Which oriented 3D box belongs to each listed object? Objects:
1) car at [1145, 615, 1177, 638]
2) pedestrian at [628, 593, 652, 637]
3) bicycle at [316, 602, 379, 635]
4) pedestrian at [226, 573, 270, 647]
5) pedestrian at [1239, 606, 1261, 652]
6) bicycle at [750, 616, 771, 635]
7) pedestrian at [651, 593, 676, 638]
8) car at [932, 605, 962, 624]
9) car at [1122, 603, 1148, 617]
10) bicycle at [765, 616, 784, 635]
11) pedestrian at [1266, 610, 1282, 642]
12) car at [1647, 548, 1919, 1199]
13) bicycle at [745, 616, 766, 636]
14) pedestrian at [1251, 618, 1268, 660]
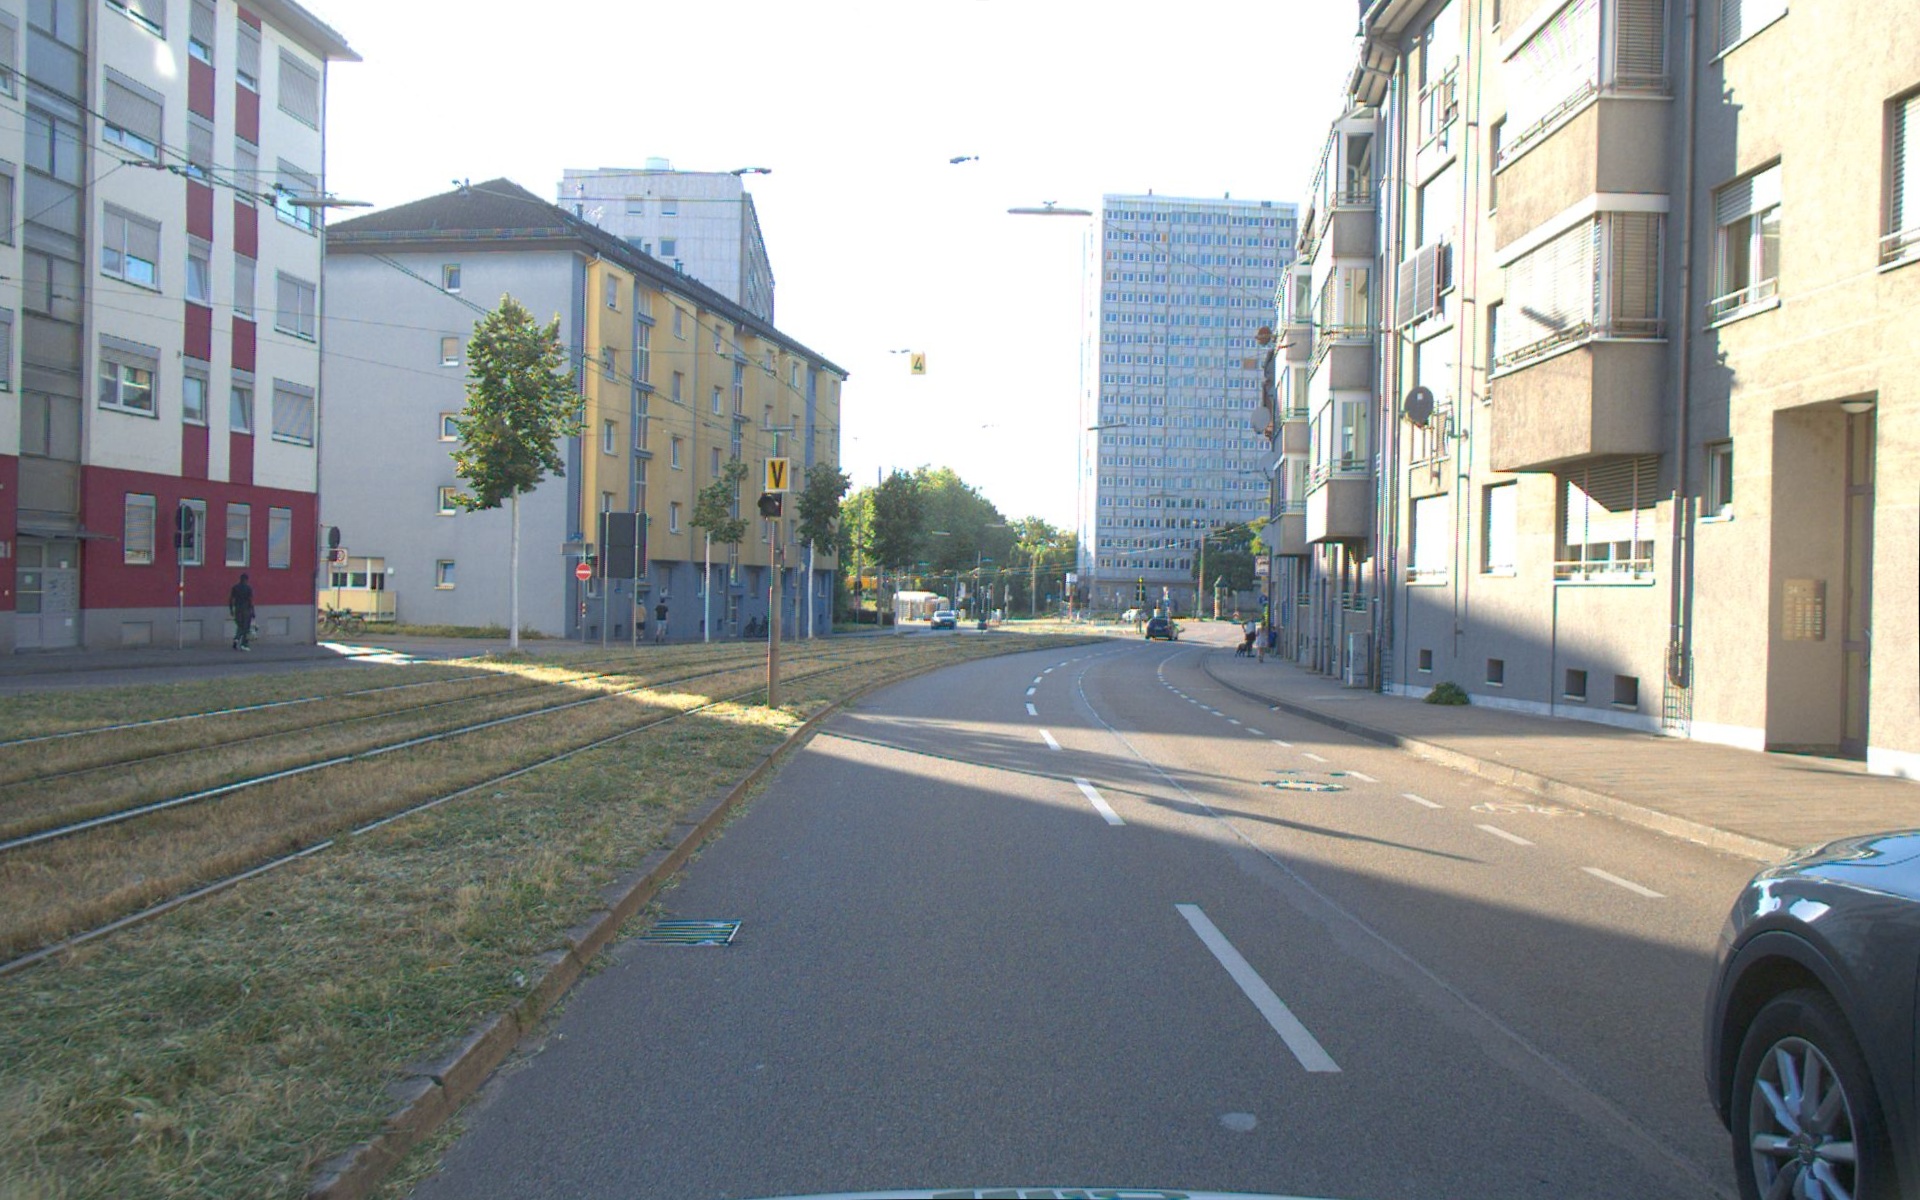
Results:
[{"bbox_3d":[13.181,1.729,108.275,1.734,1.447,3.859,1,0,11],"label":"car"},{"bbox_3d":[-13.177,0.613,68.159,0.603,1.723,0.707,6,0,9],"label":"pedestrian"},{"bbox_3d":[-21.282,0.641,57.465,1.918,1.094,0.602,2,-1,-8],"label":"bicycle"},{"bbox_3d":[-16.947,0.247,39.362,0.600,1.719,0.792,2,0,4],"label":"pedestrian"},{"bbox_3d":[11.495,1.157,65.655,0.812,1.803,0.997,1,0,9],"label":"pedestrian"},{"bbox_3d":[-10.311,1.303,85.429,0.418,0.941,1.913,5,0,11],"label":"bicycle"},{"bbox_3d":[-12.299,0.629,68.648,0.580,1.803,0.886,6,0,9],"label":"pedestrian"},{"bbox_3d":[-1.086,1.251,139.055,1.755,1.495,4.799,0,-1,8],"label":"car"},{"bbox_3d":[19.814,1.101,187.330,1.956,1.557,3.992,1,0,-9],"label":"car"},{"bbox_3d":[-9.865,1.367,87.950,0.418,0.976,1.913,1,-1,11],"label":"bicycle"},{"bbox_3d":[12.391,1.024,65.209,0.575,1.273,0.585,1,0,9],"label":"pedestrian"},{"bbox_3d":[2.736,0.738,2.386,1.730,1.615,4.067,2,0,-1],"label":"car"},{"bbox_3d":[-10.397,1.320,84.150,0.418,0.941,1.913,5,0,11],"label":"bicycle"},{"bbox_3d":[9.942,1.292,54.921,0.503,1.368,0.609,1,-1,6],"label":"pedestrian"}]
